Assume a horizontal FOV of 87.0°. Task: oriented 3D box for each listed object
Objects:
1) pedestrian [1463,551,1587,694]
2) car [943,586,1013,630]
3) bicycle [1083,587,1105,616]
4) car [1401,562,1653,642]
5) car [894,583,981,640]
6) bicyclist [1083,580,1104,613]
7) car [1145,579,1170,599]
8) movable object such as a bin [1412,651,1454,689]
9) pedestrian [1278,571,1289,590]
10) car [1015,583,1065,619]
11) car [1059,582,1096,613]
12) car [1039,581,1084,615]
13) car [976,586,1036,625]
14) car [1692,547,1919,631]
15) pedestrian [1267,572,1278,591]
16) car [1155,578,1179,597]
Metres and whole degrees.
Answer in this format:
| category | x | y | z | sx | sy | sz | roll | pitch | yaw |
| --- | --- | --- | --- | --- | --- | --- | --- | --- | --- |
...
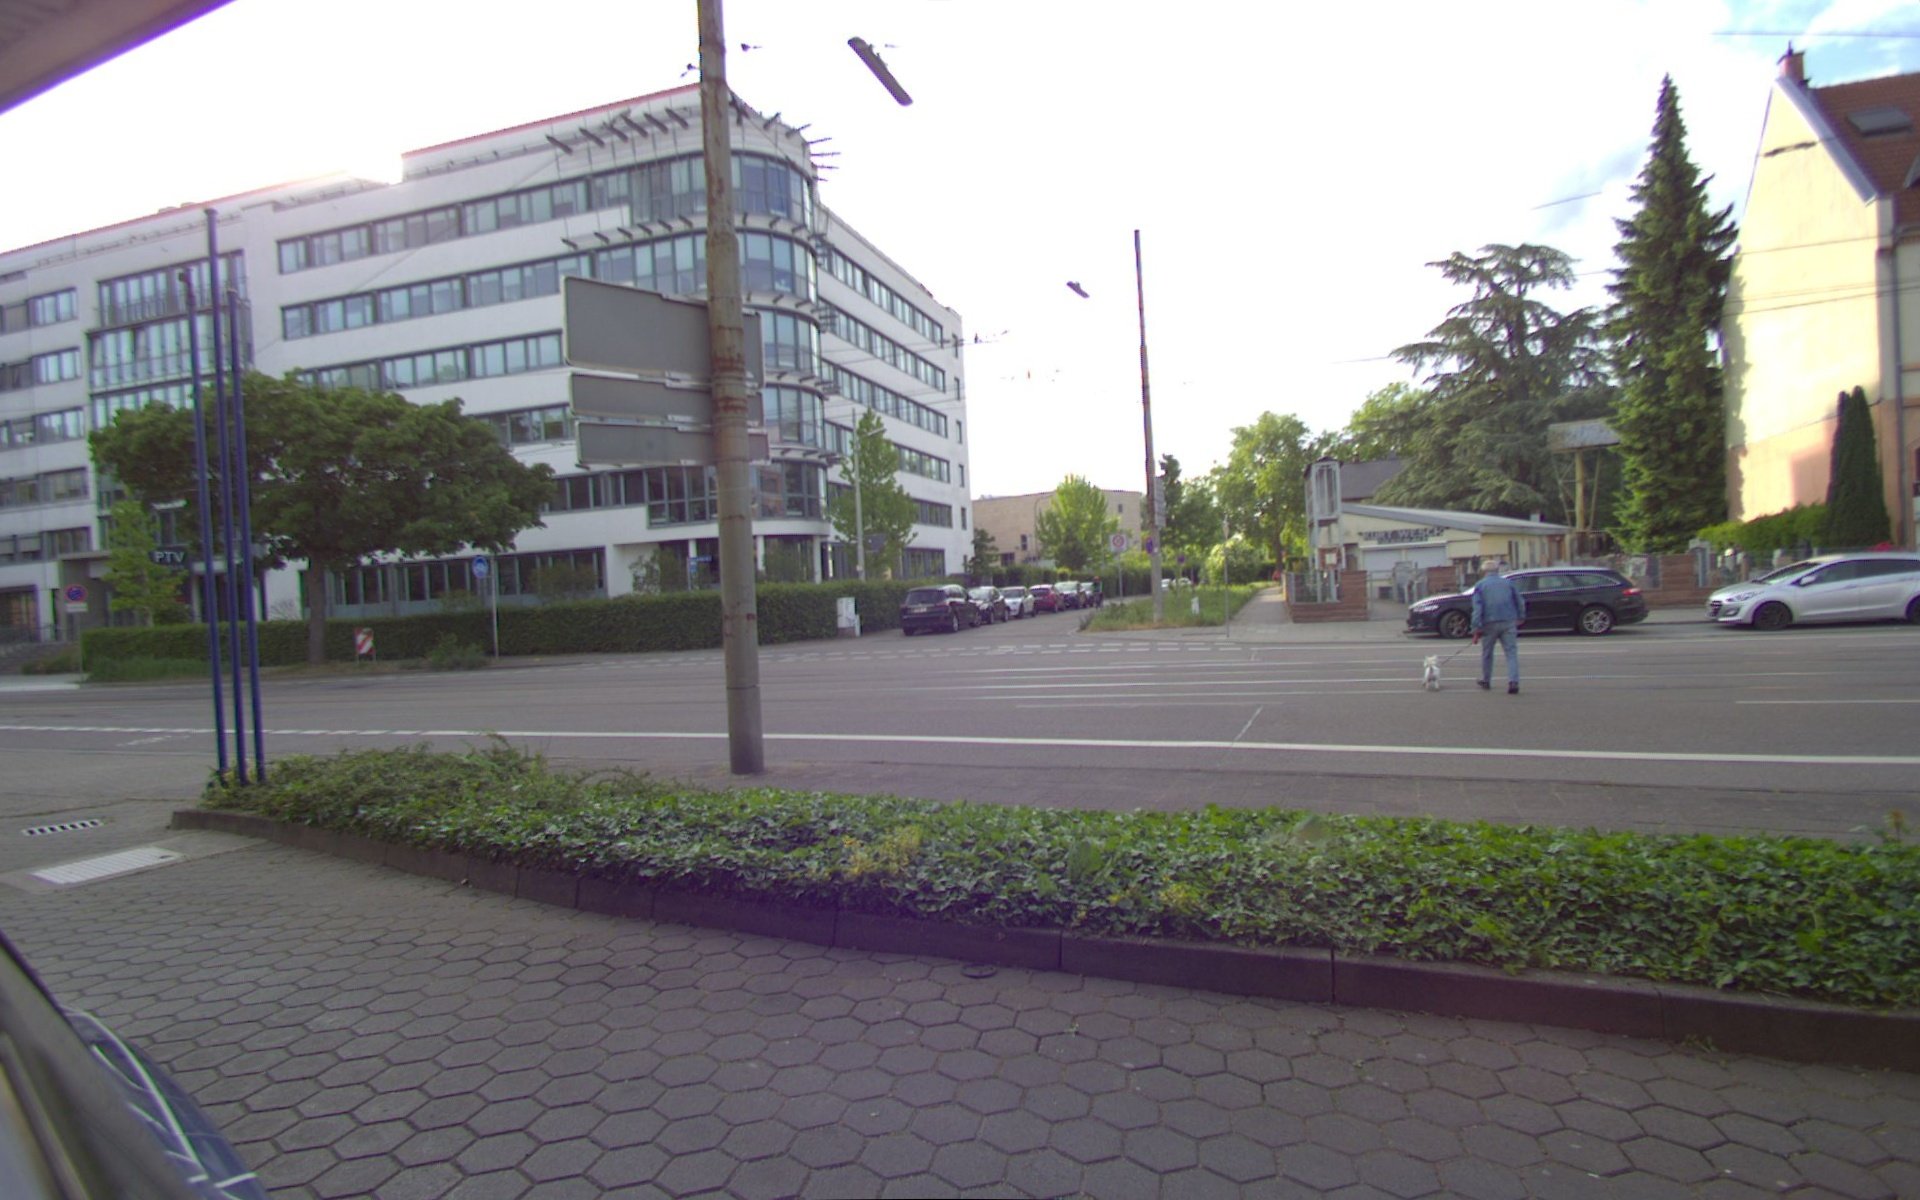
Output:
| category | x | y | z | sx | sy | sz | roll | pitch | yaw |
| --- | --- | --- | --- | --- | --- | --- | --- | --- | --- |
| pedestrian | 7.095 | 0.260 | 12.766 | 0.992 | 1.680 | 0.969 | -4 | 2 | 8 |
| car | 0.799 | 0.289 | 40.965 | 1.929 | 1.551 | 4.274 | -3 | 0 | 13 |
| bicycle | 6.829 | 0.074 | 51.603 | 0.858 | 1.320 | 1.911 | -3 | 3 | 14 |
| car | 12.917 | 0.053 | 23.433 | 4.742 | 1.511 | 2.001 | -3 | 1 | 21 |
| car | -0.721 | 0.358 | 35.405 | 1.994 | 1.704 | 4.274 | -3 | 1 | 13 |
| bicyclist | 6.788 | -0.186 | 51.508 | 0.858 | 1.617 | 1.024 | -3 | 3 | 15 |
| car | 19.703 | -1.090 | 100.782 | 1.849 | 1.748 | 4.247 | -3 | 1 | 19 |
| movable object such as a bin | 6.319 | 0.933 | 13.505 | 0.478 | 0.424 | 0.674 | -3 | 2 | 27 |
| pedestrian | 32.396 | -1.946 | 101.357 | 0.899 | 1.865 | 0.942 | -3 | -1 | 20 |
| car | 4.180 | 0.020 | 52.482 | 1.929 | 1.650 | 4.274 | -3 | 0 | 13 |
| car | 7.294 | -0.163 | 62.485 | 1.731 | 1.748 | 4.030 | -3 | 0 | 13 |
| car | 5.840 | -0.153 | 57.711 | 1.929 | 1.748 | 4.512 | -3 | 0 | 13 |
| car | 2.147 | 0.212 | 45.776 | 1.929 | 1.530 | 4.274 | -3 | 0 | 13 |
| car | 18.427 | -0.246 | 21.371 | 4.424 | 1.494 | 1.713 | -3 | 1 | 21 |
| pedestrian | 31.403 | -1.872 | 101.582 | 0.899 | 1.865 | 0.942 | -3 | -1 | 20 |
| car | 21.695 | -1.341 | 106.151 | 1.849 | 1.748 | 4.246 | -3 | 1 | 19 |
